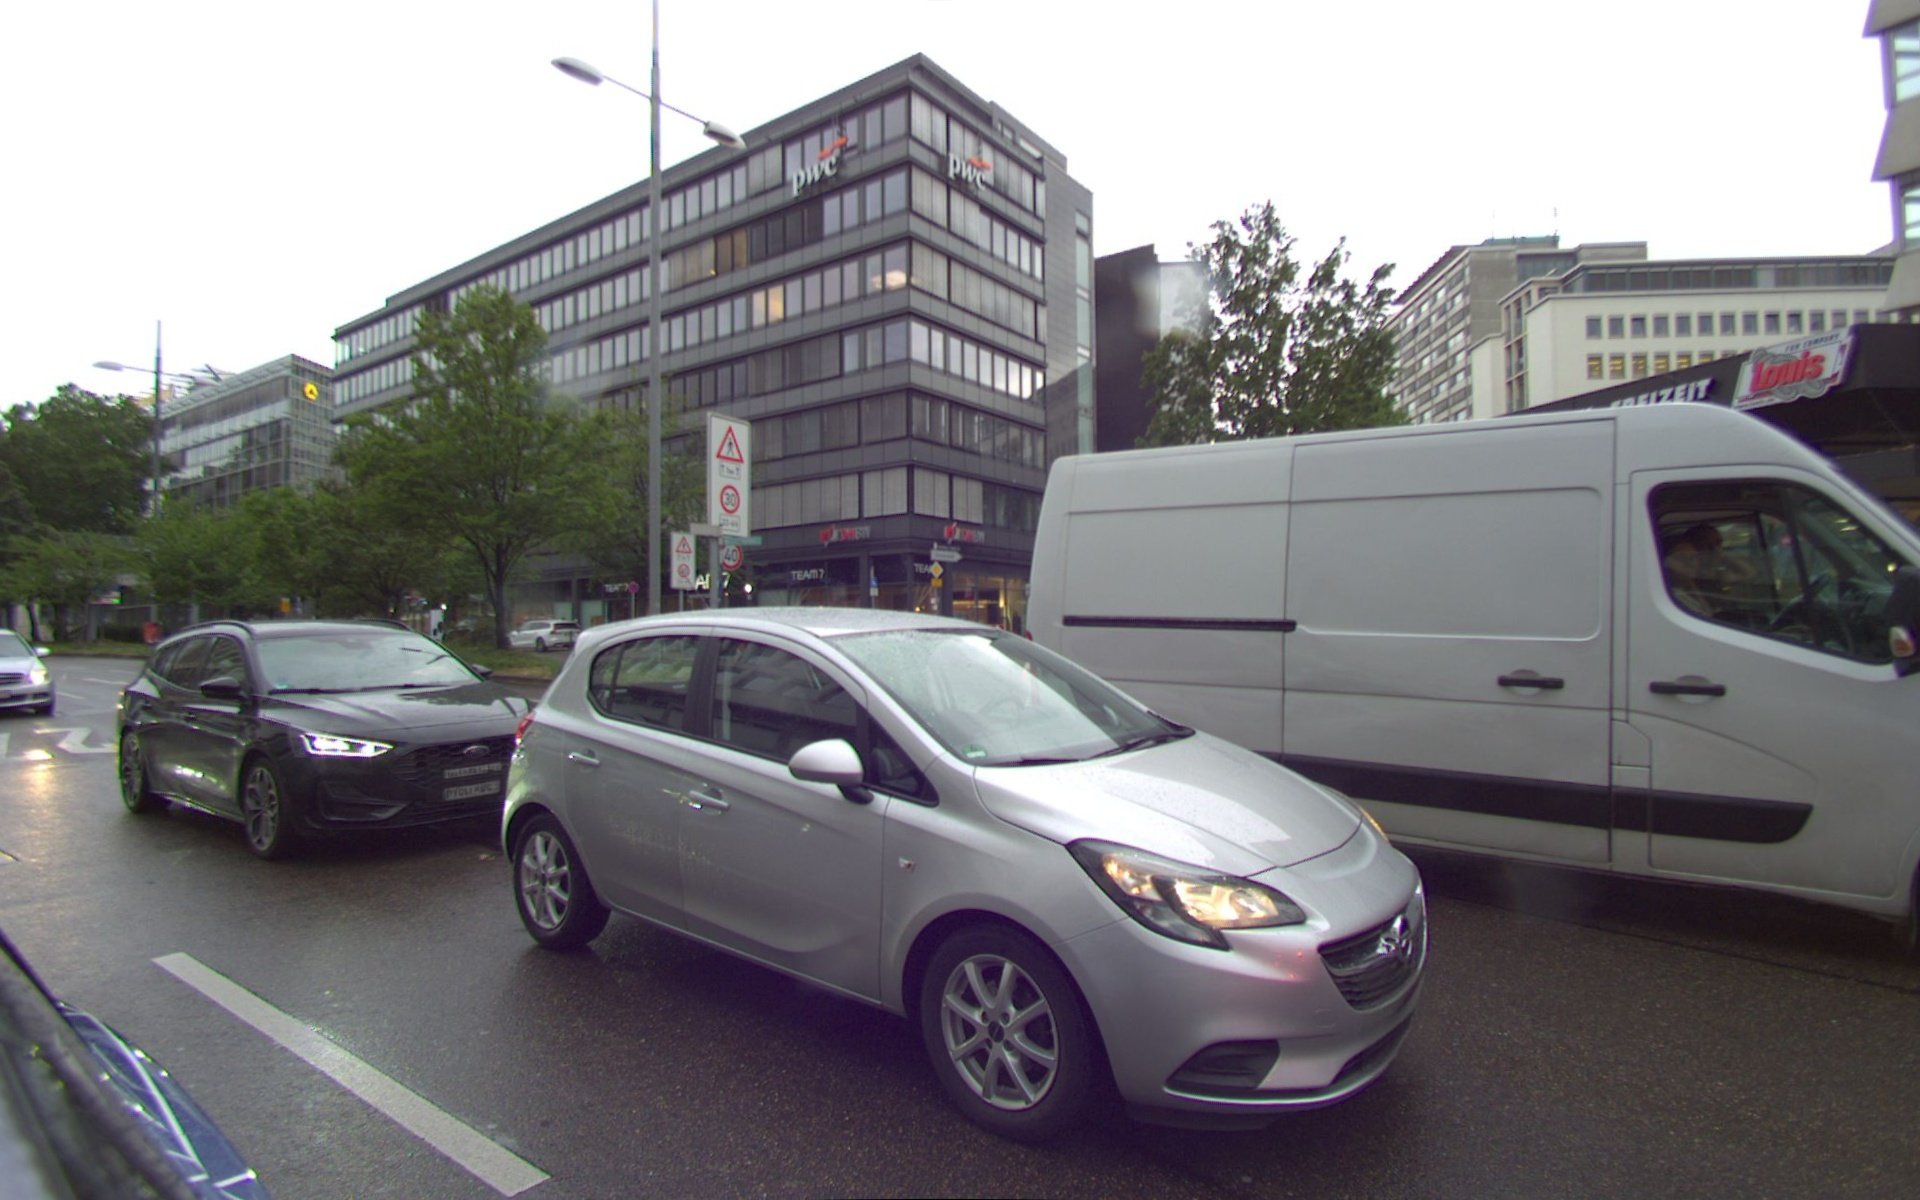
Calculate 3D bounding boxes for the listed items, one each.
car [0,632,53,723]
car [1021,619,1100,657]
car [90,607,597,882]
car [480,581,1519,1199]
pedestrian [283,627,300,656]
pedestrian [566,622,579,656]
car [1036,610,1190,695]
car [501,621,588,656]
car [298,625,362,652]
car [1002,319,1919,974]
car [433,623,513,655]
[{"bbox_3d":[-16.597,1.264,16.760,4.091,1.391,1.754,-2,-1,39],"label":"car"},{"bbox_3d":[4.541,1.664,45.478,1.847,1.596,3.716,-2,-1,37],"label":"car"},{"bbox_3d":[-4.607,0.825,7.342,4.087,1.446,1.755,-2,-1,37],"label":"car"},{"bbox_3d":[-0.167,0.725,3.963,3.872,1.446,1.631,-2,-1,40],"label":"car"},{"bbox_3d":[-48.713,3.022,73.750,0.539,2.029,0.917,-2,-1,39],"label":"pedestrian"},{"bbox_3d":[-23.278,2.353,60.729,0.460,2.029,0.568,-2,-1,36],"label":"pedestrian"},{"bbox_3d":[2.964,0.897,18.865,1.742,1.383,3.965,-1,-1,26],"label":"car"},{"bbox_3d":[-19.409,1.792,47.256,3.992,1.518,1.975,-2,-1,36],"label":"car"},{"bbox_3d":[-37.943,2.297,60.918,3.992,1.518,1.975,-2,-1,36],"label":"car"},{"bbox_3d":[3.037,0.203,5.430,5.470,2.459,1.928,-2,-1,37],"label":"car"},{"bbox_3d":[-24.598,1.975,51.107,4.100,1.518,1.975,-2,-1,36],"label":"car"}]
